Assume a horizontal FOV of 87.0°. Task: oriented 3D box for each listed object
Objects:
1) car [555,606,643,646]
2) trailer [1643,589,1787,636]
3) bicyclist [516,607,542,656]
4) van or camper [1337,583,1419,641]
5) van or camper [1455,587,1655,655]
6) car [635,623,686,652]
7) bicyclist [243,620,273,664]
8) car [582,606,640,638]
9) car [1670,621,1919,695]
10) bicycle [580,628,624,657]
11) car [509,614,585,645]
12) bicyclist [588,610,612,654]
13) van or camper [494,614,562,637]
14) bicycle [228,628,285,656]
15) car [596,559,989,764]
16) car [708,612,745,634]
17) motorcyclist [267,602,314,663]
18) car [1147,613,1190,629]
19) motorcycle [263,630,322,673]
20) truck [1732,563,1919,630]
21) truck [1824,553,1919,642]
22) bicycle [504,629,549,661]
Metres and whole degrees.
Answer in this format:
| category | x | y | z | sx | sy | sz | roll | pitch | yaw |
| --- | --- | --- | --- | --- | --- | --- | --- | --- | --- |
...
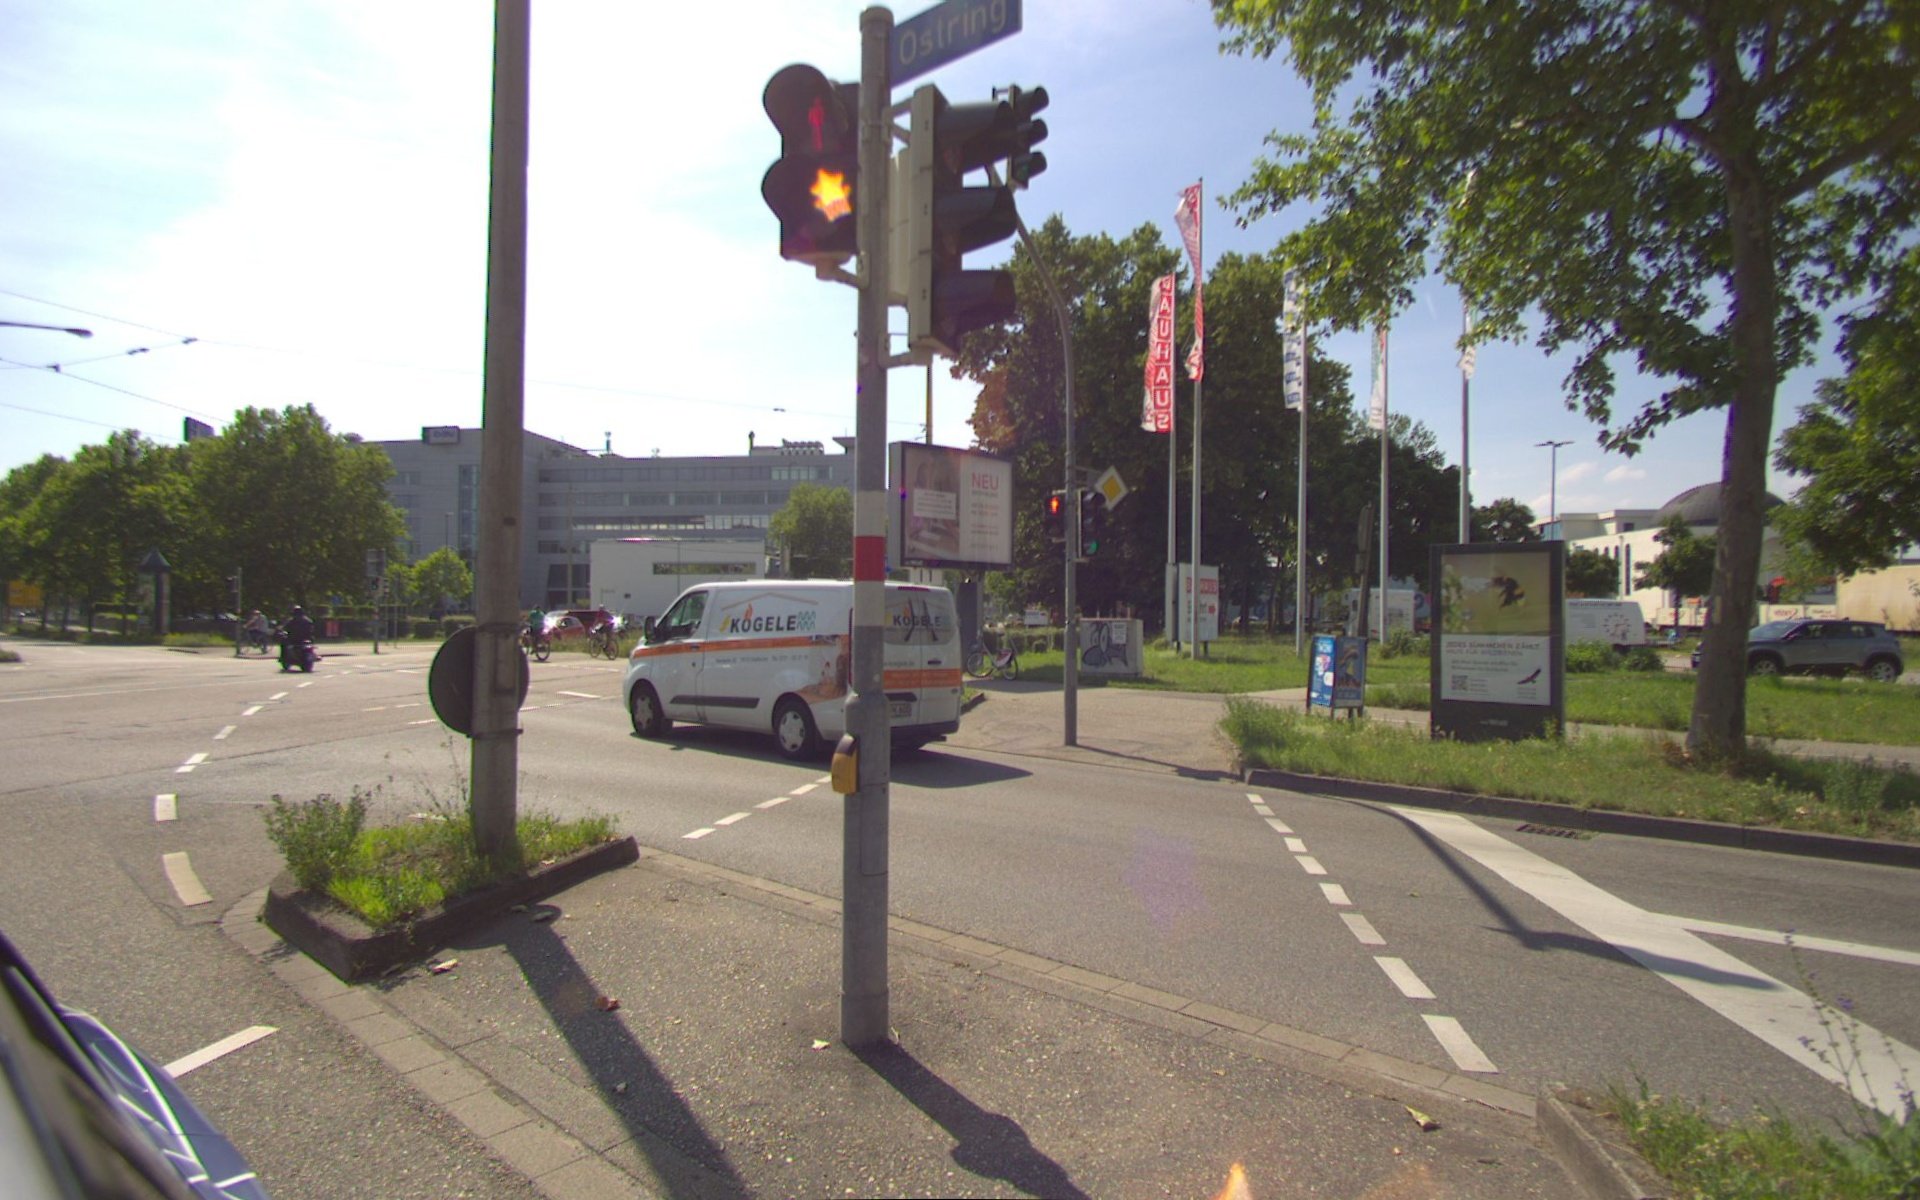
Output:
| category | x | y | z | sx | sy | sz | roll | pitch | yaw |
| --- | --- | --- | --- | --- | --- | --- | --- | --- | --- |
| car | -21.667 | 1.523 | 60.920 | 2.139 | 2.295 | 5.000 | -1 | -1 | 24 |
| trailer | 43.111 | 0.711 | 58.181 | 2.891 | 2.509 | 8.193 | 0 | -1 | 7 |
| bicyclist | -13.355 | 0.968 | 31.381 | 0.609 | 1.503 | 0.522 | -1 | -1 | 39 |
| van or camper | 23.666 | 0.660 | 57.575 | 2.680 | 3.124 | 6.311 | 0 | 0 | 7 |
| van or camper | 20.284 | 0.702 | 34.743 | 5.454 | 2.226 | 2.191 | 0 | -1 | 8 |
| car | -18.582 | 2.304 | 62.911 | 1.972 | 1.712 | 3.999 | 0 | -1 | 0 |
| bicyclist | -29.027 | 1.722 | 41.849 | 0.698 | 1.802 | 0.765 | 0 | -1 | 12 |
| car | -19.325 | 1.218 | 56.225 | 1.971 | 1.712 | 4.001 | 0 | -1 | -1 |
| car | 19.355 | 1.291 | 23.242 | 4.511 | 1.584 | 2.201 | 0 | -1 | -1 |
| bicycle | -11.974 | 1.408 | 33.812 | 1.747 | 0.945 | 0.430 | -1 | -1 | 35 |
| car | -20.140 | 1.435 | 49.521 | 1.824 | 1.460 | 3.993 | 0 | -1 | 5 |
| bicyclist | -12.012 | 1.057 | 33.770 | 0.608 | 1.425 | 0.523 | -1 | -1 | 34 |
| van or camper | -33.388 | 1.972 | 78.279 | 4.454 | 1.704 | 1.997 | 0 | -1 | 4 |
| bicycle | -29.053 | 1.720 | 41.839 | 0.520 | 1.072 | 2.157 | 0 | -1 | 12 |
| car | -2.215 | 0.677 | 12.337 | 5.029 | 2.015 | 1.955 | -1 | -3 | 41 |
| car | -18.288 | 1.790 | 79.395 | 1.972 | 1.712 | 3.999 | 0 | -1 | 0 |
| motorcyclist | -16.486 | 0.792 | 24.925 | 0.987 | 1.481 | 0.735 | -1 | -1 | 42 |
| car | 21.663 | 2.194 | 105.207 | 4.334 | 1.576 | 1.869 | 0 | -1 | 10 |
| motorcycle | -16.447 | 1.247 | 24.912 | 2.216 | 0.999 | 0.680 | -1 | -1 | 42 |
| truck | 41.969 | -0.091 | 48.670 | 2.889 | 2.914 | 9.600 | 0 | -1 | 5 |
| truck | 37.797 | -0.104 | 38.194 | 3.120 | 3.336 | 8.913 | 0 | -1 | 4 |
| bicycle | -13.532 | 1.402 | 31.543 | 1.995 | 0.945 | 0.412 | -1 | -1 | 39 |
